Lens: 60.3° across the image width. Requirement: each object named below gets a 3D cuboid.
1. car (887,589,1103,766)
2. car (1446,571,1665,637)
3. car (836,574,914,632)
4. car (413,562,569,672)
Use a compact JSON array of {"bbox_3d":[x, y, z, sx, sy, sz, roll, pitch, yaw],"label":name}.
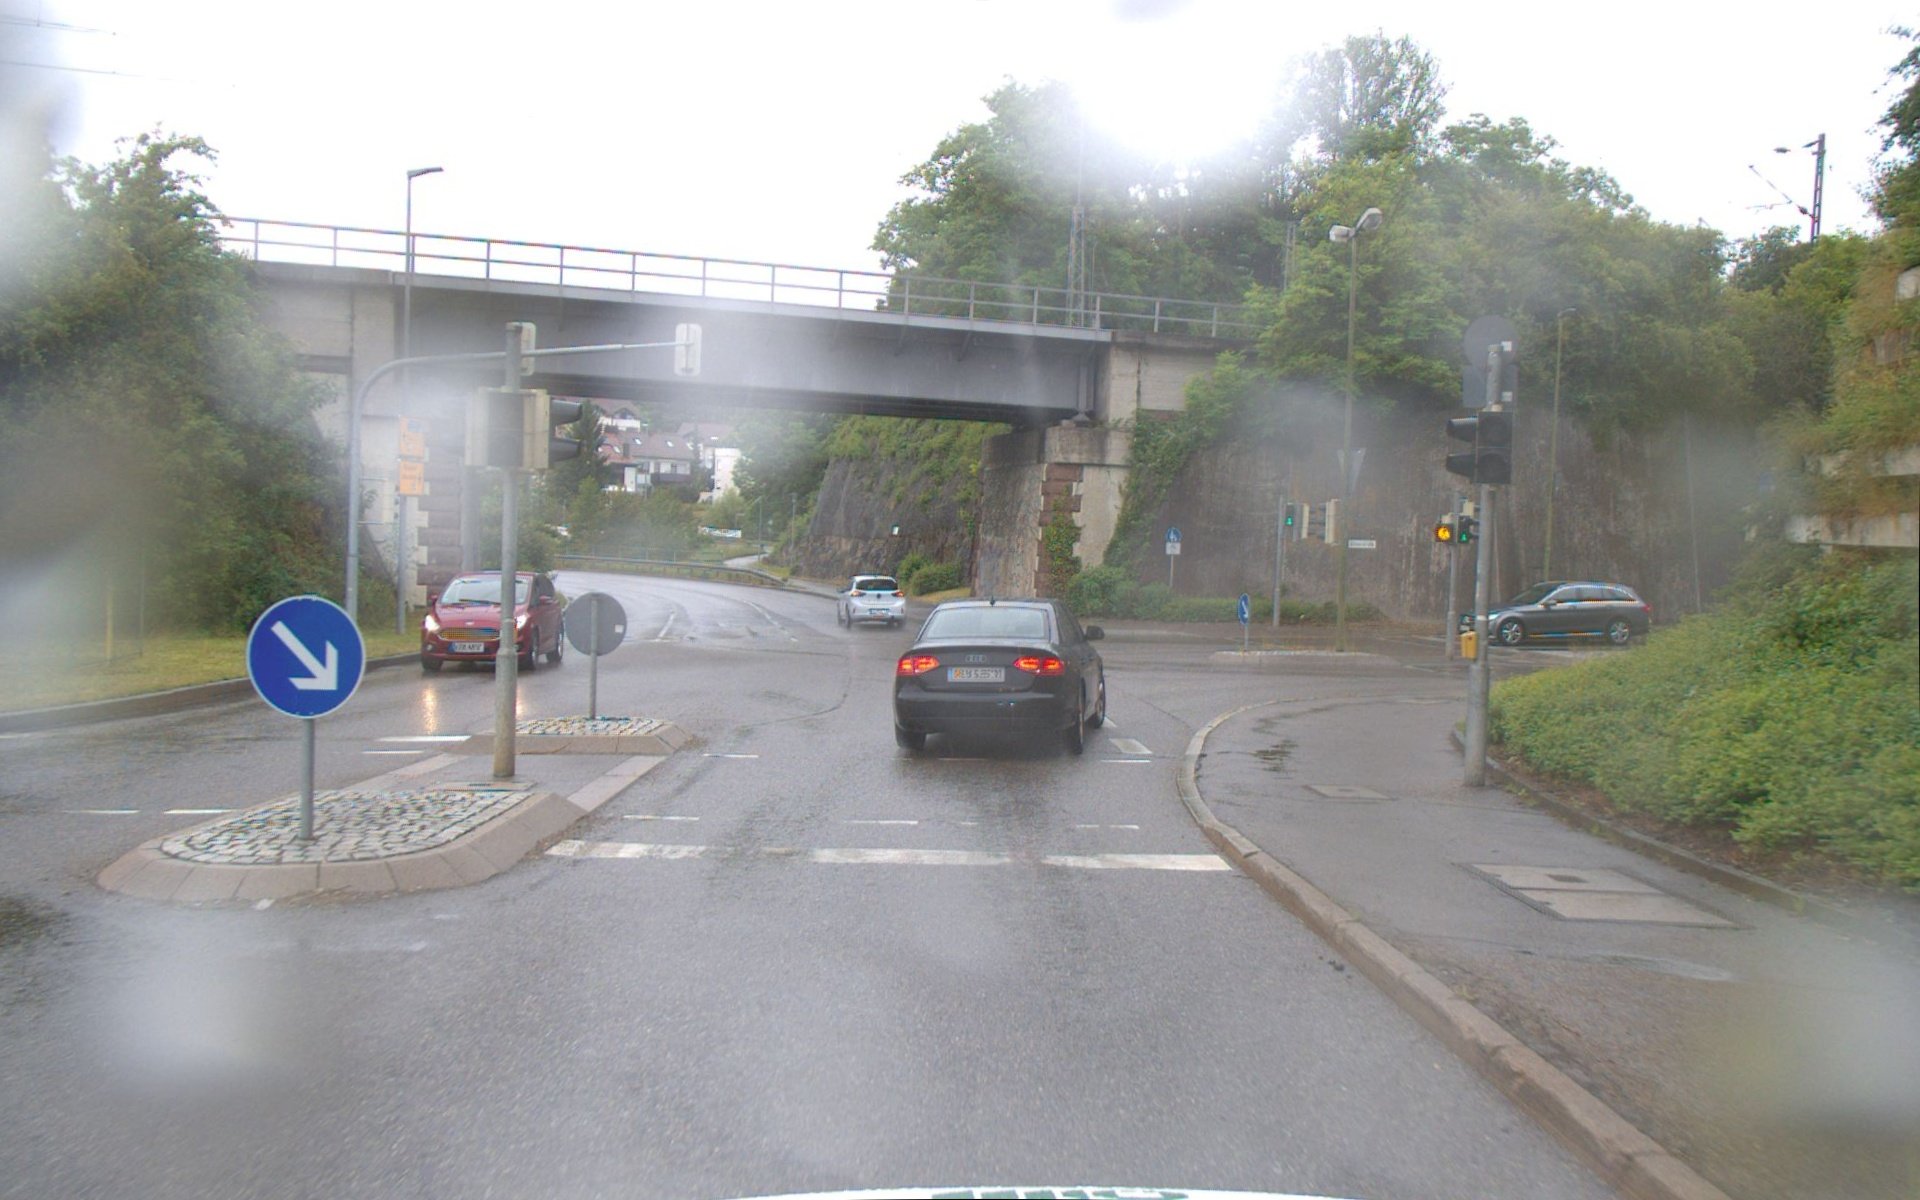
[{"bbox_3d":[0.412,0.649,16.314,1.853,1.518,4.209,0,0,3],"label":"car"},{"bbox_3d":[14.329,0.093,39.927,4.627,1.529,1.996,0,0,-10],"label":"car"},{"bbox_3d":[-2.508,0.069,47.818,1.956,1.590,3.993,0,0,-8],"label":"car"},{"bbox_3d":[-8.005,0.253,28.630,1.861,1.744,4.675,0,0,-7],"label":"car"}]
